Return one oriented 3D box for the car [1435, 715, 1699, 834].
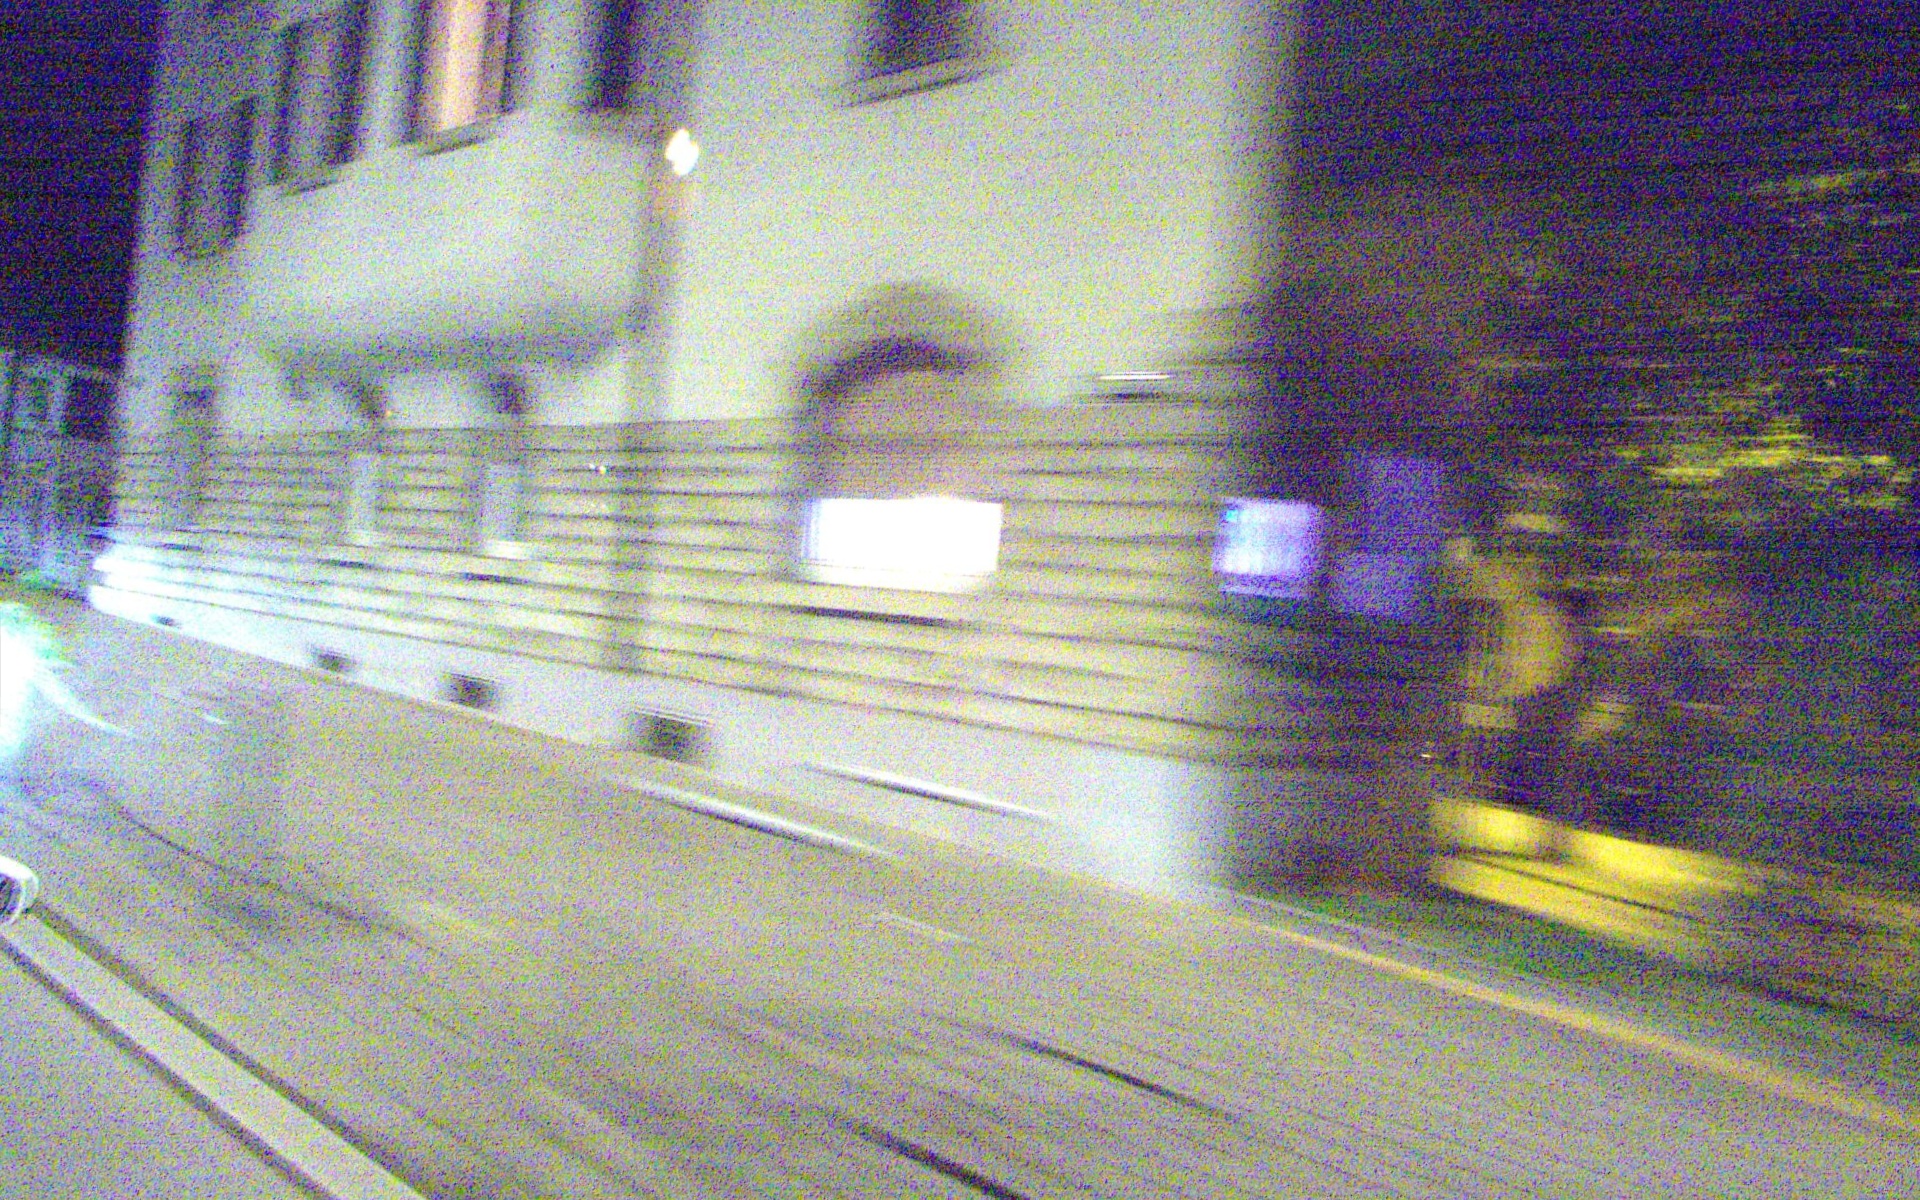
[{"bbox_3d":[11.116,3.162,18.725,1.778,1.433,3.821,8,-2,-21],"label":"car"}]
